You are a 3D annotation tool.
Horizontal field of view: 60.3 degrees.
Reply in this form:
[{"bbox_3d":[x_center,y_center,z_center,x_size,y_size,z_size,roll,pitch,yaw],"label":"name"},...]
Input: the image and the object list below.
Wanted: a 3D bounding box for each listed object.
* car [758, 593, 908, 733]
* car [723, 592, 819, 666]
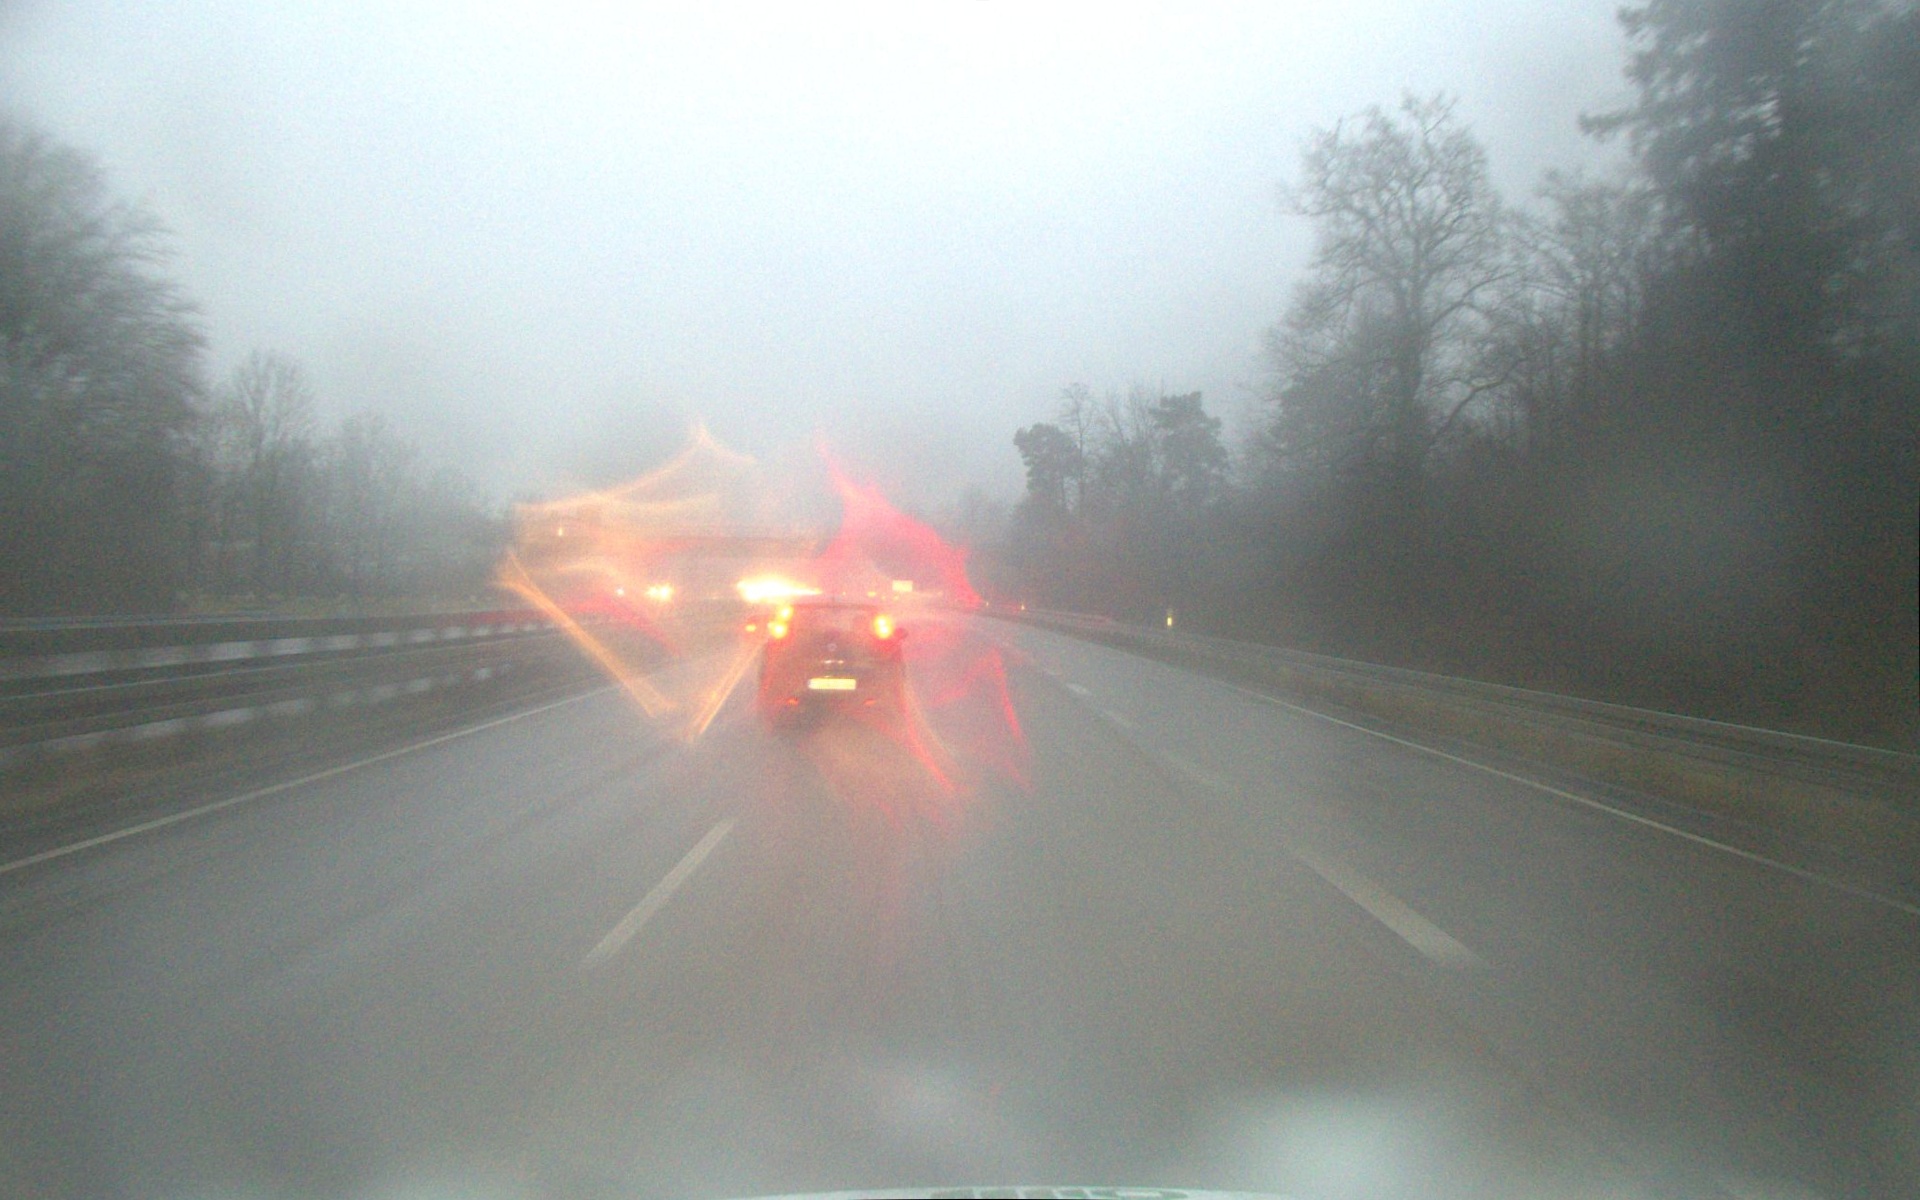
[{"bbox_3d":[-1.463,0.696,20.111,1.496,1.440,3.478,3,0,-1],"label":"car"},{"bbox_3d":[-4.266,0.611,37.863,1.740,1.561,4.701,-1,0,-1],"label":"car"}]
